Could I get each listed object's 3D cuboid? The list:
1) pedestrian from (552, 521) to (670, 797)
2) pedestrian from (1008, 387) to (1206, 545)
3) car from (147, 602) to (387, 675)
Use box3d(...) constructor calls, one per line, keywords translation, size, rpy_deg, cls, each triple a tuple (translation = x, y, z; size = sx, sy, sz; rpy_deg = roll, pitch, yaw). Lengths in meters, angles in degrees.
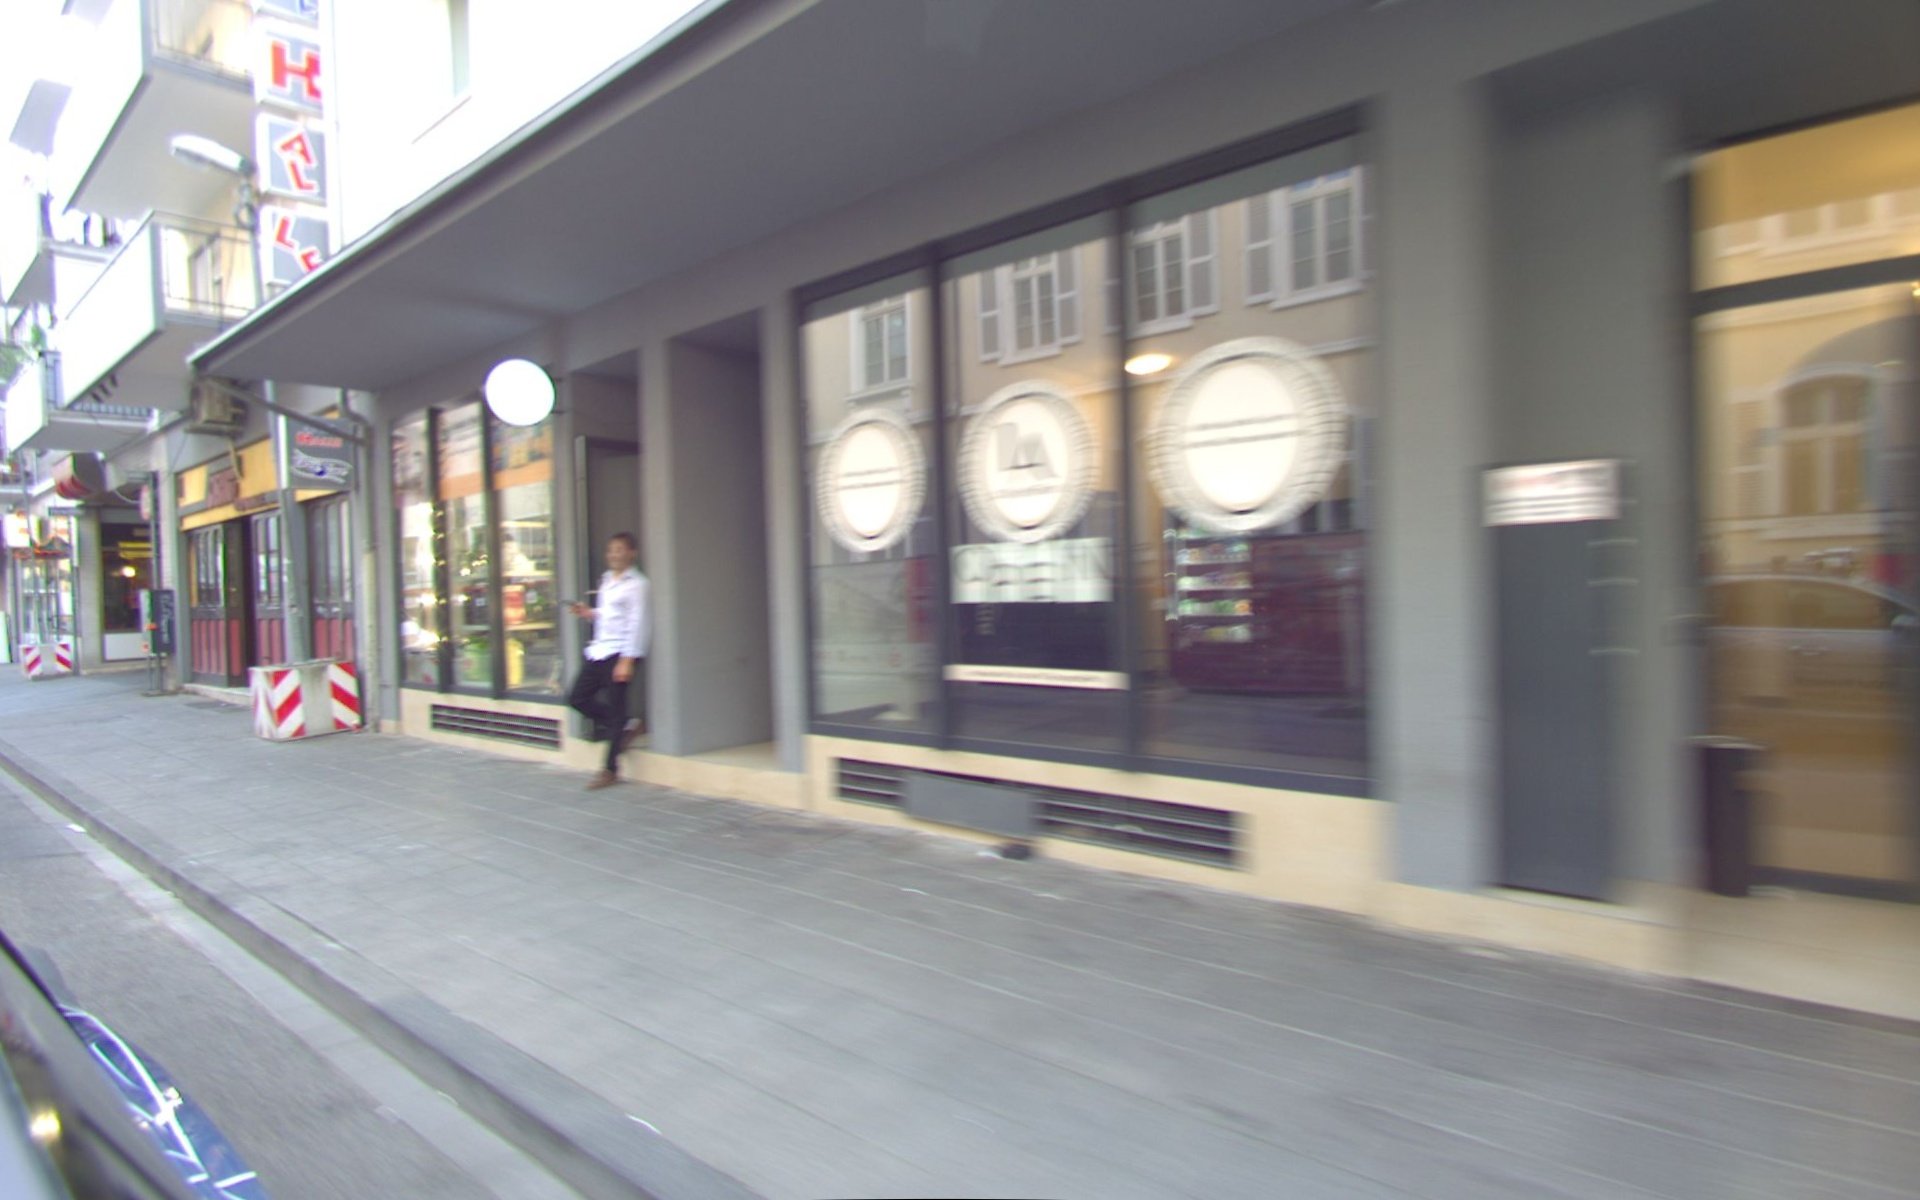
box3d(translation=(-2.462, 0.395, 7.147), size=(0.561, 1.848, 0.526), rpy_deg=(-2, 0, 35), cls="pedestrian")
box3d(translation=(2.256, -2.059, 16.734), size=(1.967, 2.029, 4.009), rpy_deg=(-1, 0, -12), cls="pedestrian")
box3d(translation=(-16.225, 0.848, 23.858), size=(2.018, 1.432, 4.273), rpy_deg=(-1, 1, 39), cls="car")
